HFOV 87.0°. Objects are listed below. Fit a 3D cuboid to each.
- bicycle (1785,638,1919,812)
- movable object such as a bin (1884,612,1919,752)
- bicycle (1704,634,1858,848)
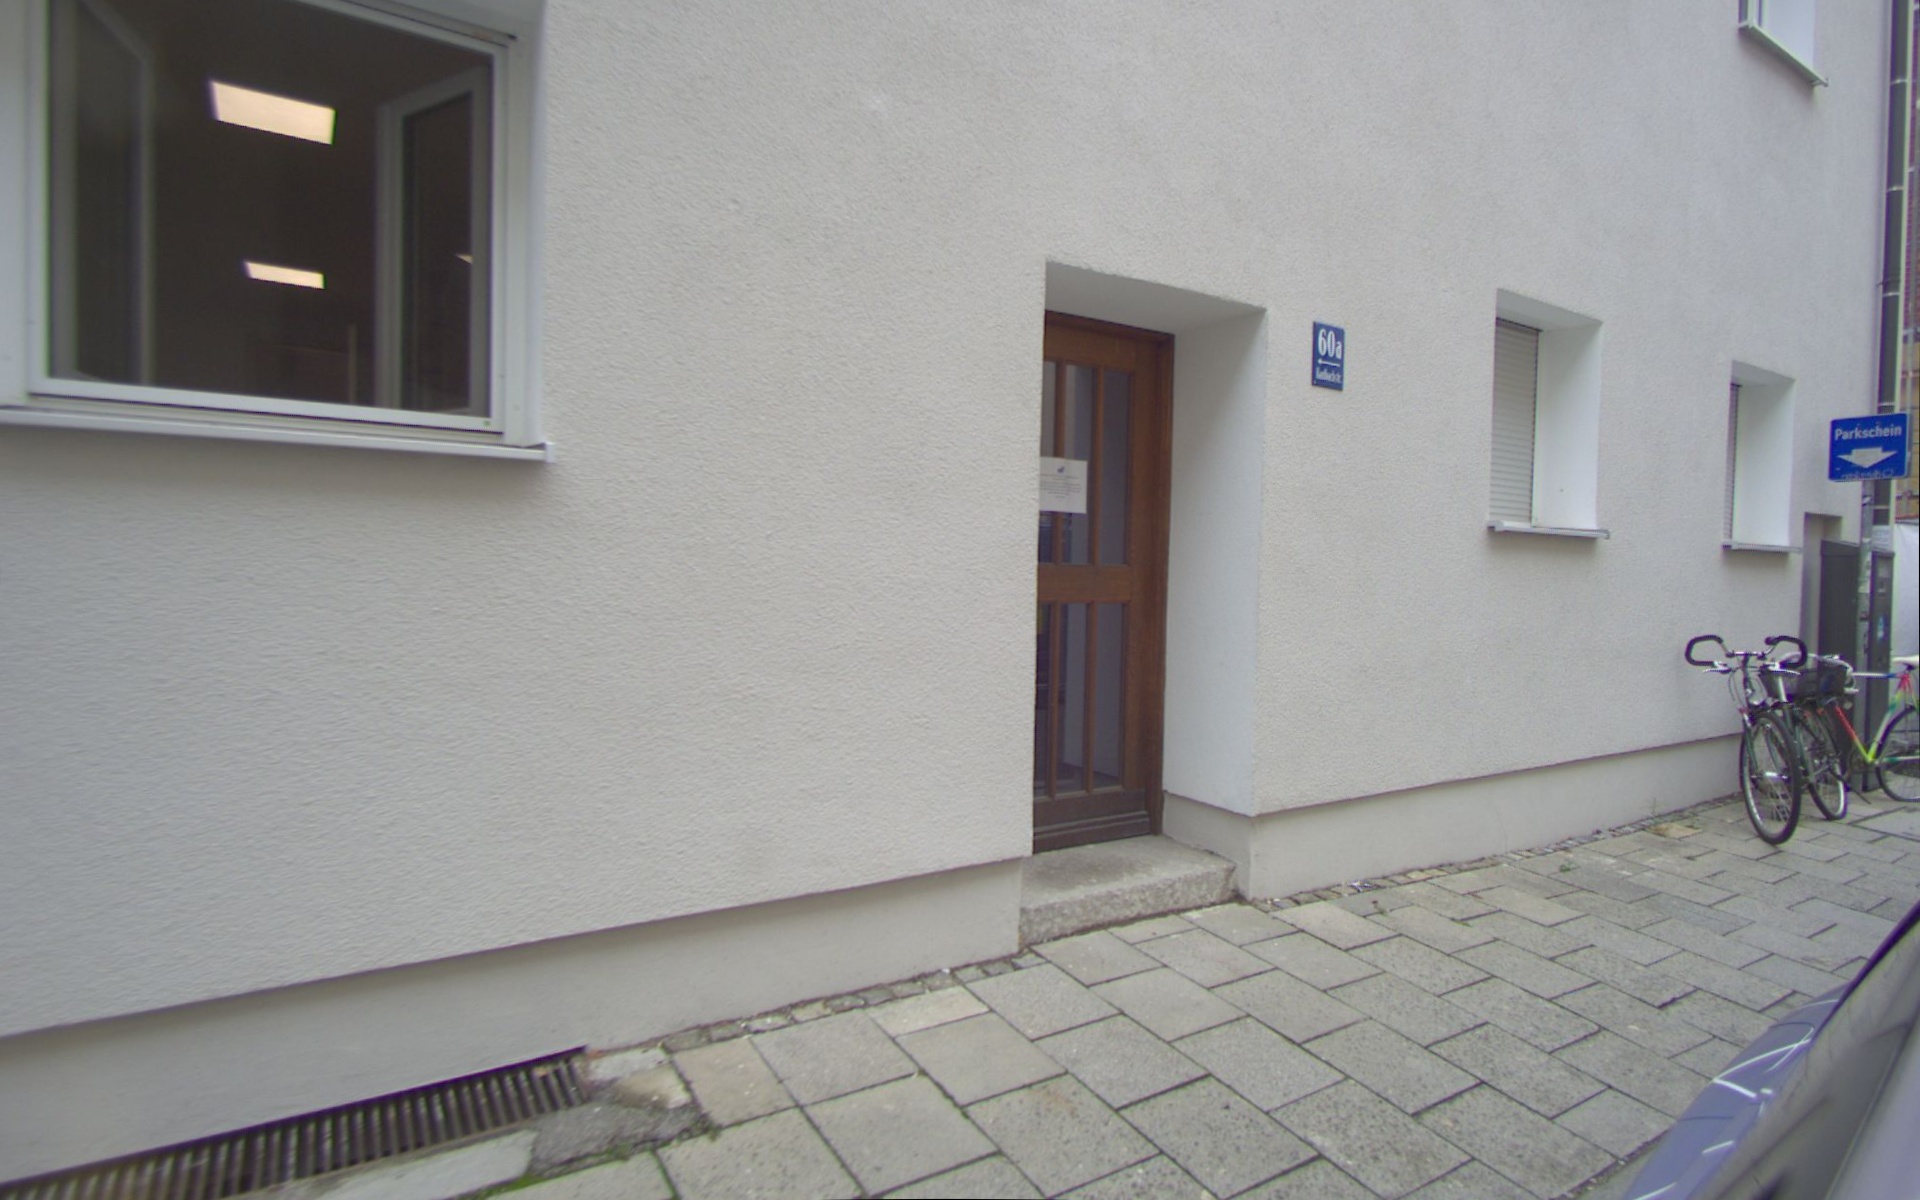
[{"bbox_3d":[5.871,0.764,6.371,1.403,1.003,0.282,1,5,-20],"label":"bicycle"},{"bbox_3d":[8.298,0.723,7.970,0.773,1.108,1.218,1,5,-25],"label":"movable object such as a bin"},{"bbox_3d":[4.698,0.744,5.767,1.306,1.003,0.405,-1,6,-42],"label":"bicycle"}]
